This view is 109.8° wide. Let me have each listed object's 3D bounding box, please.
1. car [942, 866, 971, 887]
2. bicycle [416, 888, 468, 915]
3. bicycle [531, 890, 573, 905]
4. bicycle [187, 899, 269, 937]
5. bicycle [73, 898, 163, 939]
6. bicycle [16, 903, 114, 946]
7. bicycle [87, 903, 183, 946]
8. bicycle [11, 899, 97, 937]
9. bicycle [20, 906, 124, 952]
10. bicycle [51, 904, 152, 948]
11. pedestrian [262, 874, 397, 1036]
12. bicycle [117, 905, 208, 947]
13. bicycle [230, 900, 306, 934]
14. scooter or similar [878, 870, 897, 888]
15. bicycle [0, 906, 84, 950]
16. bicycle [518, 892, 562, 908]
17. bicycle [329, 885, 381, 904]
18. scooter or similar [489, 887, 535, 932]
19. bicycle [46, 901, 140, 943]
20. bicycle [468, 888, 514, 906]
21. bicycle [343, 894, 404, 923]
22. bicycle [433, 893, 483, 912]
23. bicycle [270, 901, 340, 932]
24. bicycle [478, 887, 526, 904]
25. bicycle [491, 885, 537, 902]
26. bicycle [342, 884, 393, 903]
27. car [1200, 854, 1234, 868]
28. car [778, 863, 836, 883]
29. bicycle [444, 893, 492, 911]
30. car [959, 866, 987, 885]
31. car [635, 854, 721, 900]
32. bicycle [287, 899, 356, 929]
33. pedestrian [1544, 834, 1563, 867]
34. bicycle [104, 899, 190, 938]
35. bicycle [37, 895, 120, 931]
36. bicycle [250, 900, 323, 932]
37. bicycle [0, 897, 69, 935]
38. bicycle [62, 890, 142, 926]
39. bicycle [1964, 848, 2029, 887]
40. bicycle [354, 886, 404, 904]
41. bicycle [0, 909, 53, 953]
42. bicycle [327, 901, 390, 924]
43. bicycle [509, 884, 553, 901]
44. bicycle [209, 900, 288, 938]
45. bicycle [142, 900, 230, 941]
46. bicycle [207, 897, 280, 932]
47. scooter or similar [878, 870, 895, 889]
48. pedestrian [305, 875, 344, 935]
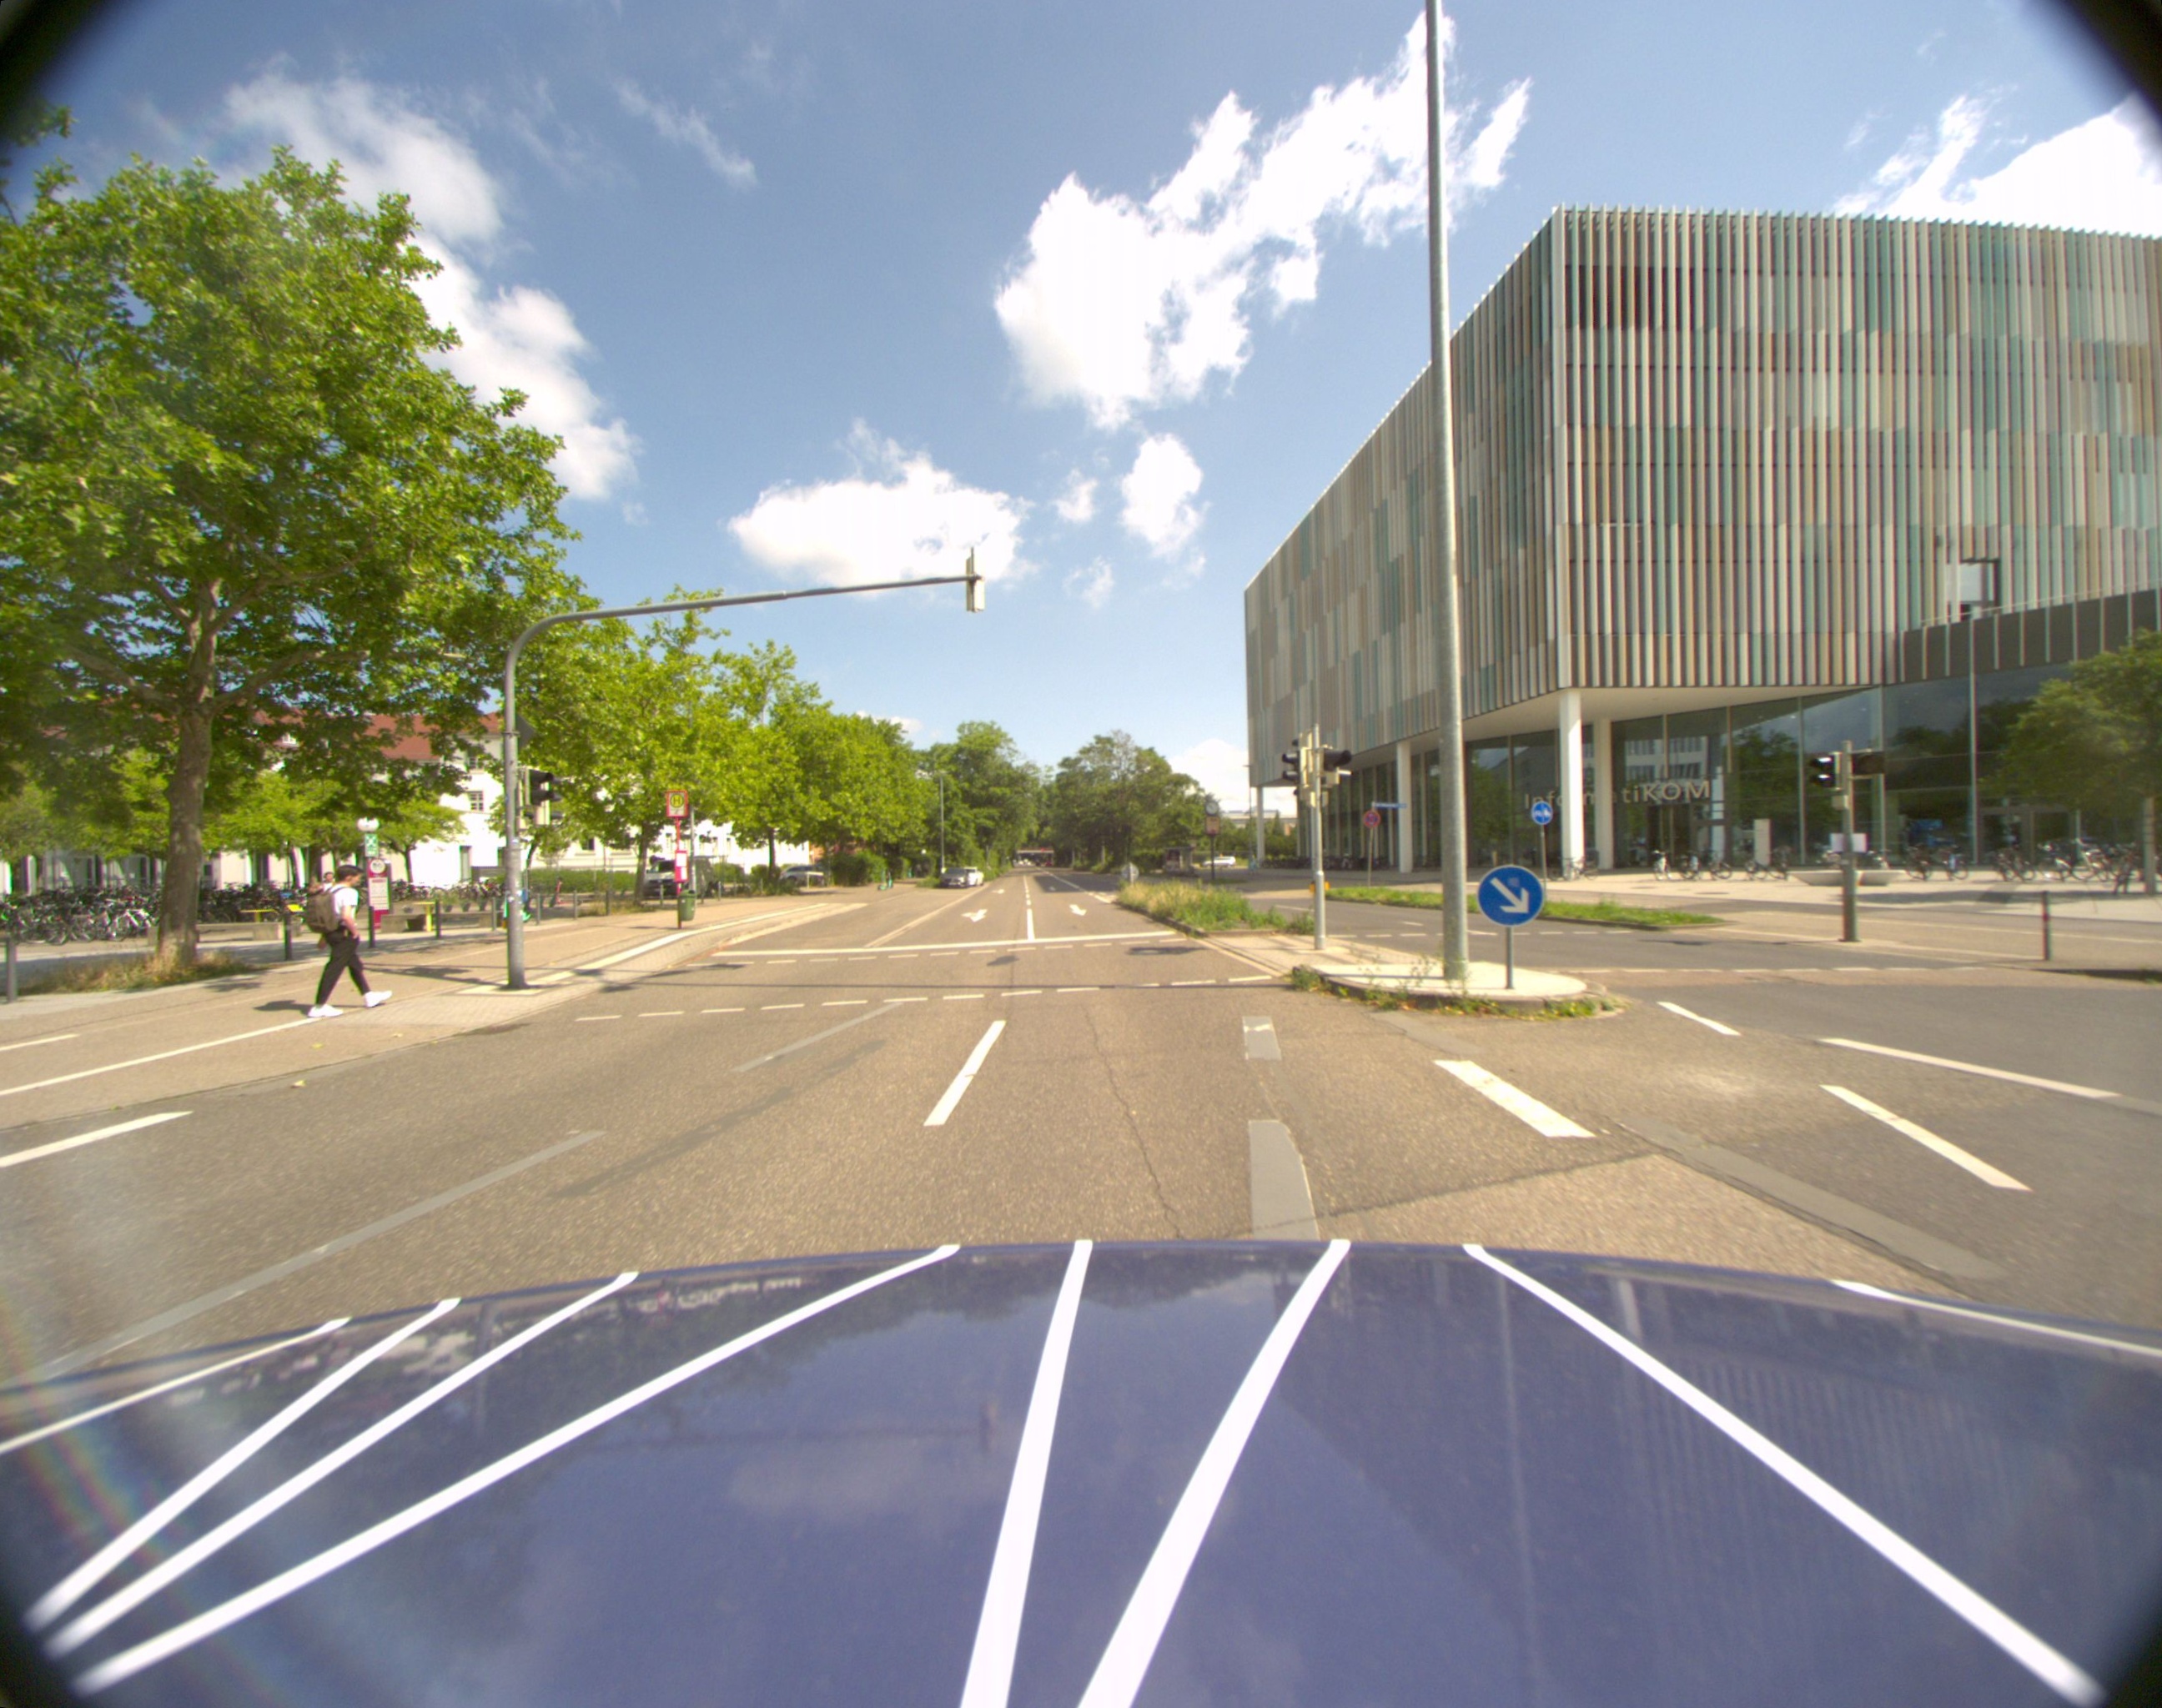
[{"bbox_3d":[-8.420,1.505,51.755,1.709,1.321,3.998,1,-1,-6],"label":"car"},{"bbox_3d":[-28.707,2.128,34.132,1.673,1.090,0.626,-2,0,-8],"label":"bicycle"},{"bbox_3d":[-27.529,2.254,39.525,1.673,0.729,0.626,-2,0,-8],"label":"bicycle"},{"bbox_3d":[-26.679,1.988,23.787,1.673,1.090,0.626,-2,0,-8],"label":"bicycle"},{"bbox_3d":[-28.850,1.920,22.774,1.673,1.090,0.626,-2,0,-8],"label":"bicycle"},{"bbox_3d":[-28.553,1.982,21.371,1.673,1.090,0.626,-2,0,-8],"label":"bicycle"},{"bbox_3d":[-26.477,1.966,21.291,1.673,1.090,0.626,-2,0,-8],"label":"bicycle"},{"bbox_3d":[-32.925,2.041,24.375,1.673,1.090,0.626,-2,0,-8],"label":"bicycle"},{"bbox_3d":[-26.433,1.958,19.927,1.673,1.090,0.626,-2,0,-8],"label":"bicycle"},{"bbox_3d":[-26.509,1.941,20.584,1.673,1.090,0.626,-2,0,-8],"label":"bicycle"},{"bbox_3d":[-9.037,1.174,9.184,0.701,1.815,0.942,1,1,-2],"label":"pedestrian"},{"bbox_3d":[-26.564,2.070,21.991,1.673,1.090,0.626,-2,0,-8],"label":"bicycle"},{"bbox_3d":[-27.021,2.092,25.267,1.673,1.029,0.626,-2,0,-8],"label":"bicycle"},{"bbox_3d":[-12.115,1.555,47.624,0.518,1.065,1.371,-2,0,12],"label":"scooter or similar"},{"bbox_3d":[-28.450,2.003,20.636,1.673,1.090,0.626,-2,0,-8],"label":"bicycle"},{"bbox_3d":[-27.474,2.349,38.590,1.673,0.729,0.626,-2,0,-8],"label":"bicycle"},{"bbox_3d":[-33.361,1.840,34.922,1.673,0.785,0.626,-2,0,-8],"label":"bicycle"},{"bbox_3d":[-15.214,1.459,20.350,0.348,1.122,1.167,-2,0,-2],"label":"scooter or similar"},{"bbox_3d":[-28.662,1.961,22.062,1.673,1.090,0.626,-2,0,-8],"label":"bicycle"},{"bbox_3d":[-29.445,2.136,37.939,1.673,0.785,0.626,-2,0,-8],"label":"bicycle"},{"bbox_3d":[-27.717,2.119,29.797,1.673,1.022,0.626,-2,0,-8],"label":"bicycle"},{"bbox_3d":[-29.157,2.252,35.577,1.673,0.785,0.626,-2,0,-10],"label":"bicycle"},{"bbox_3d":[-27.187,2.172,26.640,1.673,0.966,0.626,-2,0,-8],"label":"bicycle"},{"bbox_3d":[-27.322,1.947,35.880,1.673,0.729,0.626,-2,0,-8],"label":"bicycle"},{"bbox_3d":[-27.513,1.927,36.857,1.673,0.729,0.626,-2,0,-8],"label":"bicycle"},{"bbox_3d":[-33.432,1.845,35.635,1.673,0.785,0.626,-2,0,-8],"label":"bicycle"},{"bbox_3d":[17.670,0.900,98.798,3.997,1.676,1.646,-2,0,-1],"label":"car"},{"bbox_3d":[-21.446,1.448,59.560,4.001,1.416,1.756,-2,0,-12],"label":"car"},{"bbox_3d":[-29.303,2.296,36.319,1.673,0.785,0.626,-2,0,-10],"label":"bicycle"},{"bbox_3d":[-8.137,1.625,57.398,1.560,1.335,4.000,1,-1,0],"label":"car"},{"bbox_3d":[-19.410,1.077,36.851,2.000,2.002,4.900,-2,0,-7],"label":"car"},{"bbox_3d":[-27.277,2.144,27.299,1.673,0.960,0.626,-2,0,-8],"label":"bicycle"},{"bbox_3d":[26.978,-0.176,43.421,0.764,1.859,0.649,-2,0,42],"label":"pedestrian"},{"bbox_3d":[-28.905,2.000,23.543,1.673,1.090,0.626,-2,0,-8],"label":"bicycle"},{"bbox_3d":[-33.111,1.948,25.115,1.673,1.090,0.626,-2,0,-8],"label":"bicycle"},{"bbox_3d":[-27.094,2.118,25.941,1.673,0.979,0.626,-2,0,-8],"label":"bicycle"},{"bbox_3d":[-32.787,1.911,23.582,1.673,1.090,0.626,-2,0,-8],"label":"bicycle"},{"bbox_3d":[-33.248,1.825,25.830,1.673,1.090,0.626,-2,0,-8],"label":"bicycle"},{"bbox_3d":[28.467,0.409,23.672,0.745,1.131,2.323,-2,0,37],"label":"bicycle"},{"bbox_3d":[-33.537,1.956,36.320,1.673,0.785,0.626,-2,0,-8],"label":"bicycle"},{"bbox_3d":[-28.356,2.031,19.932,1.673,1.090,0.626,-2,0,-8],"label":"bicycle"},{"bbox_3d":[-27.563,2.215,28.996,1.673,0.785,0.626,-2,0,-8],"label":"bicycle"},{"bbox_3d":[-27.377,1.910,37.832,1.673,0.729,0.626,-2,0,-8],"label":"bicycle"},{"bbox_3d":[-26.782,2.075,24.460,1.673,1.090,0.626,-2,0,-8],"label":"bicycle"},{"bbox_3d":[-26.718,1.979,22.705,1.673,1.090,0.626,-2,0,-8],"label":"bicycle"},{"bbox_3d":[-29.326,2.107,26.635,1.673,1.090,0.626,-2,0,-8],"label":"bicycle"},{"bbox_3d":[-11.670,1.533,45.530,0.518,1.071,1.441,-2,0,5],"label":"scooter or similar"},{"bbox_3d":[-21.437,1.430,21.542,0.640,1.640,0.740,-2,0,-36],"label":"pedestrian"}]
